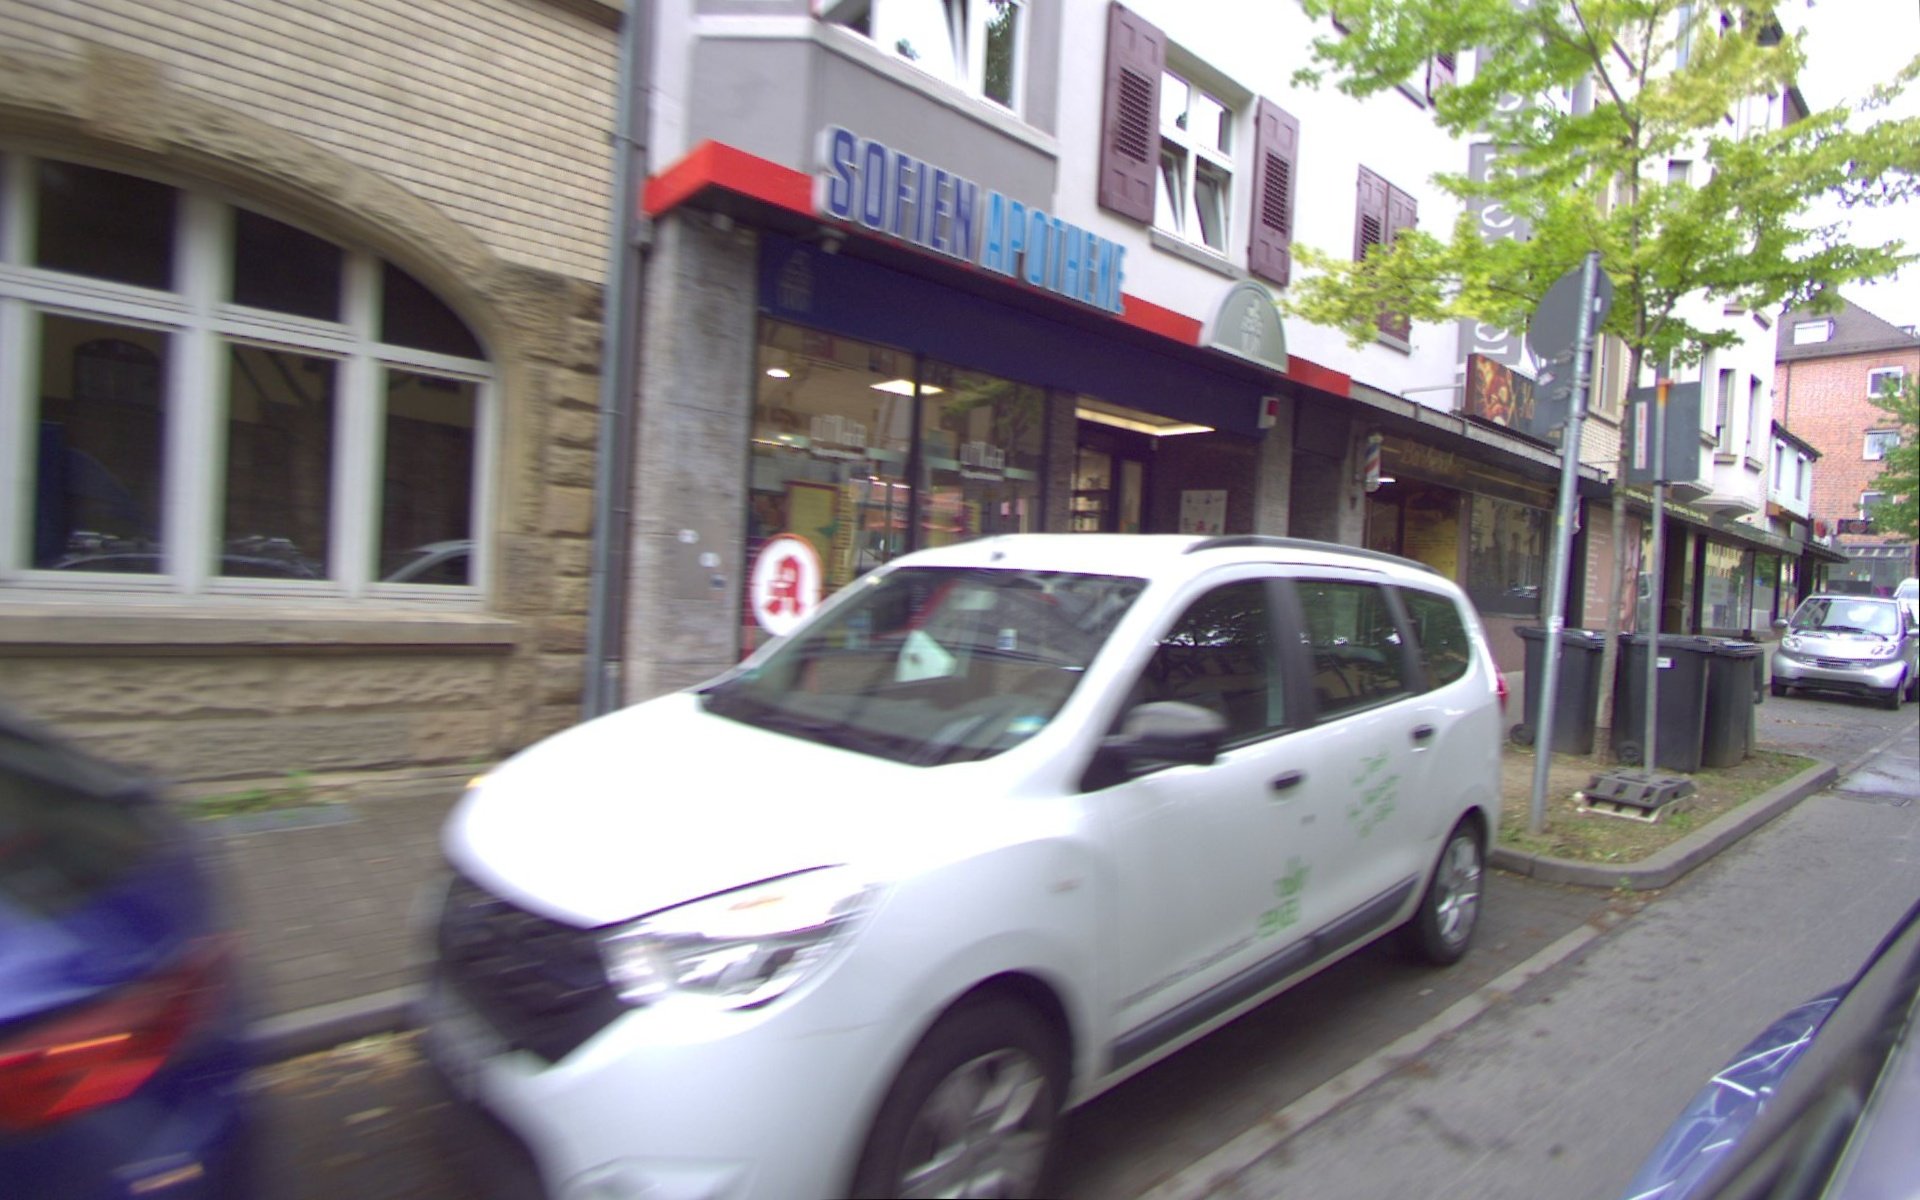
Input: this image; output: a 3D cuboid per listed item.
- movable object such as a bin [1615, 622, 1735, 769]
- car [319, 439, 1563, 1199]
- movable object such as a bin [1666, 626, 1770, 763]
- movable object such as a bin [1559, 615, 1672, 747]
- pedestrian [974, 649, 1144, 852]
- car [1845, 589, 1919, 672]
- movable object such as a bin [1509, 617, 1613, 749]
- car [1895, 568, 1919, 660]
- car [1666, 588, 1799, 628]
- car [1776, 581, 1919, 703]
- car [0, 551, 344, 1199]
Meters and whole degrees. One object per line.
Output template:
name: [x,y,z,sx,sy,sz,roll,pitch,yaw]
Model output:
movable object such as a bin: [5.604,0.715,7.931,0.685,1.037,0.623,0,1,-43]
car: [0.485,0.544,3.633,4.468,1.683,1.681,0,4,-44]
movable object such as a bin: [6.365,0.759,8.496,0.622,1.037,0.686,3,2,42]
movable object such as a bin: [5.877,0.698,9.078,0.613,1.087,0.695,0,1,-42]
pedestrian: [0.545,0.783,5.572,0.682,0.952,0.625,0,2,-44]
car: [18.604,0.564,19.540,3.971,1.432,1.687,0,3,-41]
movable object such as a bin: [5.119,0.683,8.624,0.613,1.037,0.578,0,1,-40]
car: [22.678,0.336,22.881,4.839,1.954,1.909,0,3,-44]
car: [29.826,0.275,39.223,1.668,1.469,3.892,0,0,-15]
car: [13.661,0.565,15.193,3.459,1.553,1.485,1,3,-40]
car: [-2.909,0.659,0.529,4.202,1.414,1.609,0,4,-42]
